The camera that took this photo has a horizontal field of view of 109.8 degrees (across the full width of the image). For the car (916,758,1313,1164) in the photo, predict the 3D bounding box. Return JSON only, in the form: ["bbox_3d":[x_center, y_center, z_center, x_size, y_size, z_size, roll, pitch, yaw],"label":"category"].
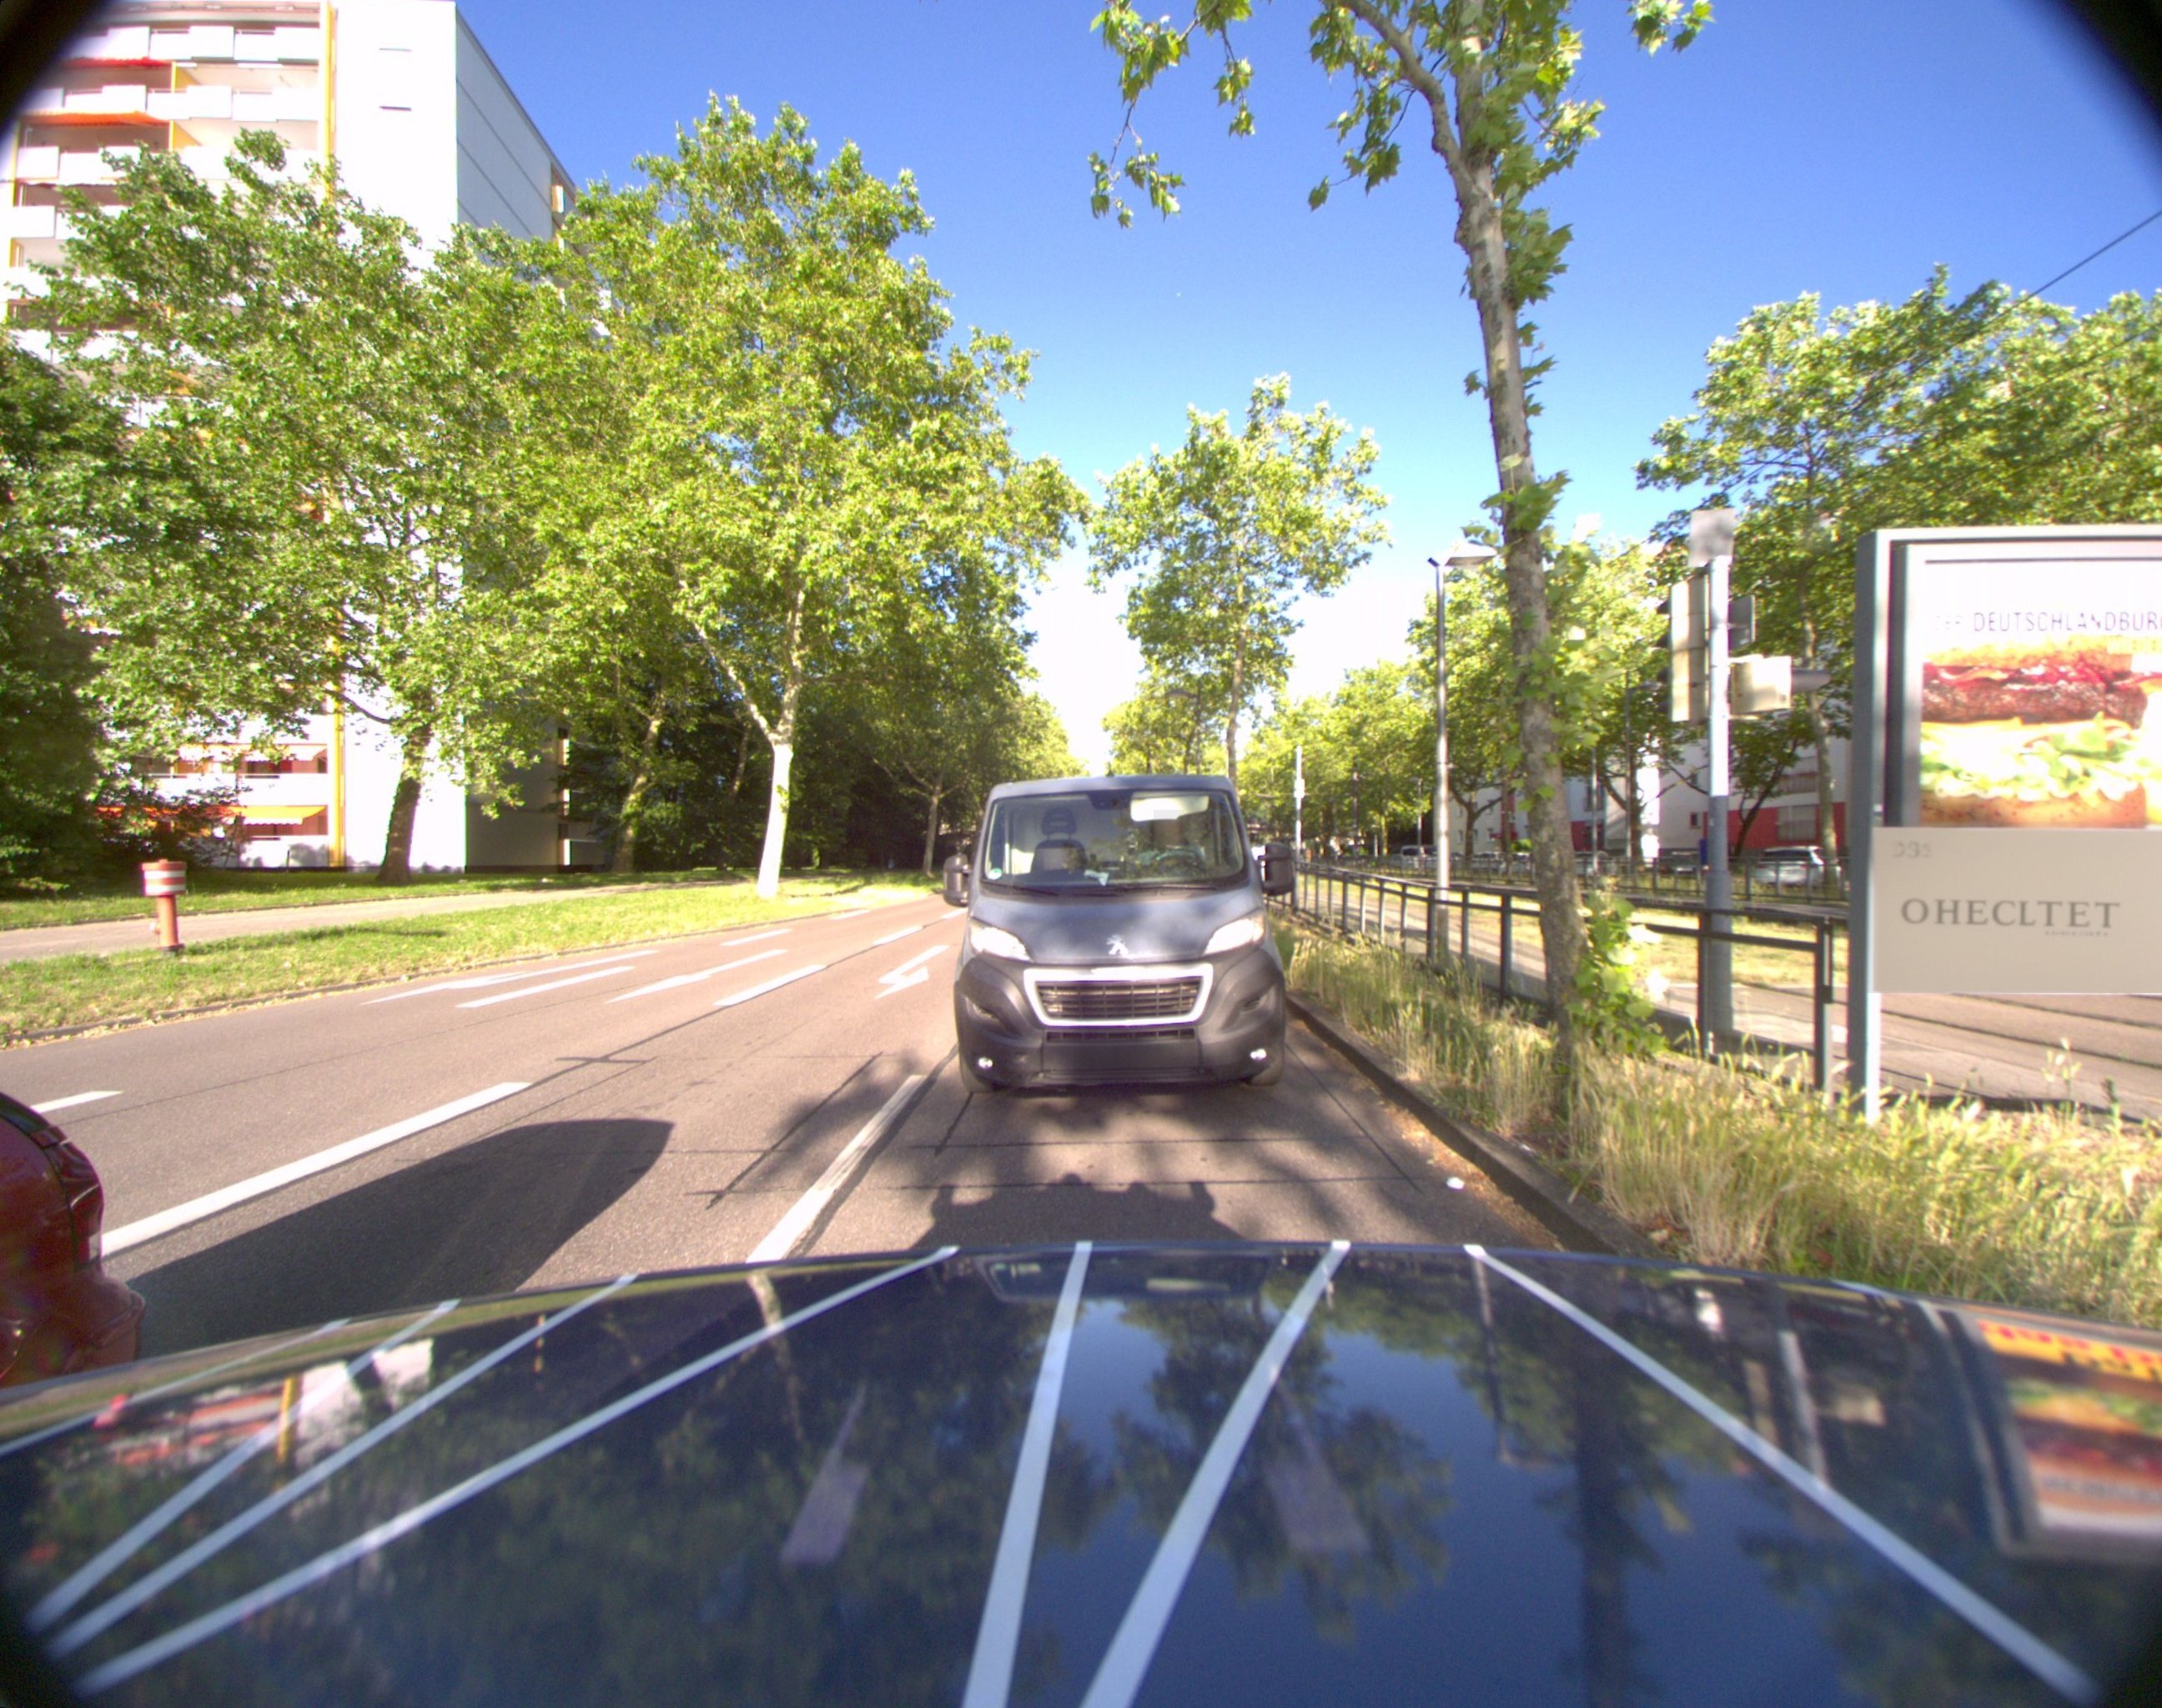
[{"bbox_3d":[0.214,0.555,6.568,2.040,2.102,5.113,-1,0,1],"label":"car"}]

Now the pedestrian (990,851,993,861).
[{"bbox_3d":[-13.237,0.298,112.280,0.398,1.454,0.417,-1,1,0],"label":"pedestrian"}]

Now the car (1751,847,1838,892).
[{"bbox_3d":[25.054,0.494,26.656,3.689,1.425,1.683,-1,1,-38],"label":"car"}]

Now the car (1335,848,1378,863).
[{"bbox_3d":[26.585,0.099,73.248,4.376,1.367,1.919,-1,1,-39],"label":"car"}]

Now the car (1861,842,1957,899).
[{"bbox_3d":[25.016,0.462,22.931,3.689,1.558,1.683,-1,1,-38],"label":"car"}]

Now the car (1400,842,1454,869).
[{"bbox_3d":[25.958,0.085,56.962,4.376,1.873,1.919,-1,1,-39],"label":"car"}]

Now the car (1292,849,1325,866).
[{"bbox_3d":[20.290,0.276,67.852,1.825,1.412,3.758,-1,0,1],"label":"car"}]

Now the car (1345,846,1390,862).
[{"bbox_3d":[26.564,-0.006,70.346,4.376,1.367,1.919,-1,1,-39],"label":"car"}]

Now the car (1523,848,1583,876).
[{"bbox_3d":[25.809,0.429,41.488,3.689,1.440,1.645,-1,1,-39],"label":"car"}]

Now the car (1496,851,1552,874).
[{"bbox_3d":[26.198,0.482,44.931,3.689,1.234,1.645,-1,1,-39],"label":"car"}]

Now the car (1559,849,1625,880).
[{"bbox_3d":[25.328,0.501,37.661,3.689,1.384,1.645,-1,1,-38],"label":"car"}]

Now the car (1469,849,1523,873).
[{"bbox_3d":[25.955,0.415,47.465,3.689,1.440,1.645,-1,1,-39],"label":"car"}]

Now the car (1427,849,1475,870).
[{"bbox_3d":[26.243,0.347,53.869,3.689,1.388,1.645,-1,1,-39],"label":"car"}]

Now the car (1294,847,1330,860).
[{"bbox_3d":[27.198,-0.060,89.399,4.376,1.367,1.919,-1,1,-39],"label":"car"}]

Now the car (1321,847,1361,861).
[{"bbox_3d":[27.240,0.024,79.545,4.376,1.367,1.919,-1,1,-39],"label":"car"}]
